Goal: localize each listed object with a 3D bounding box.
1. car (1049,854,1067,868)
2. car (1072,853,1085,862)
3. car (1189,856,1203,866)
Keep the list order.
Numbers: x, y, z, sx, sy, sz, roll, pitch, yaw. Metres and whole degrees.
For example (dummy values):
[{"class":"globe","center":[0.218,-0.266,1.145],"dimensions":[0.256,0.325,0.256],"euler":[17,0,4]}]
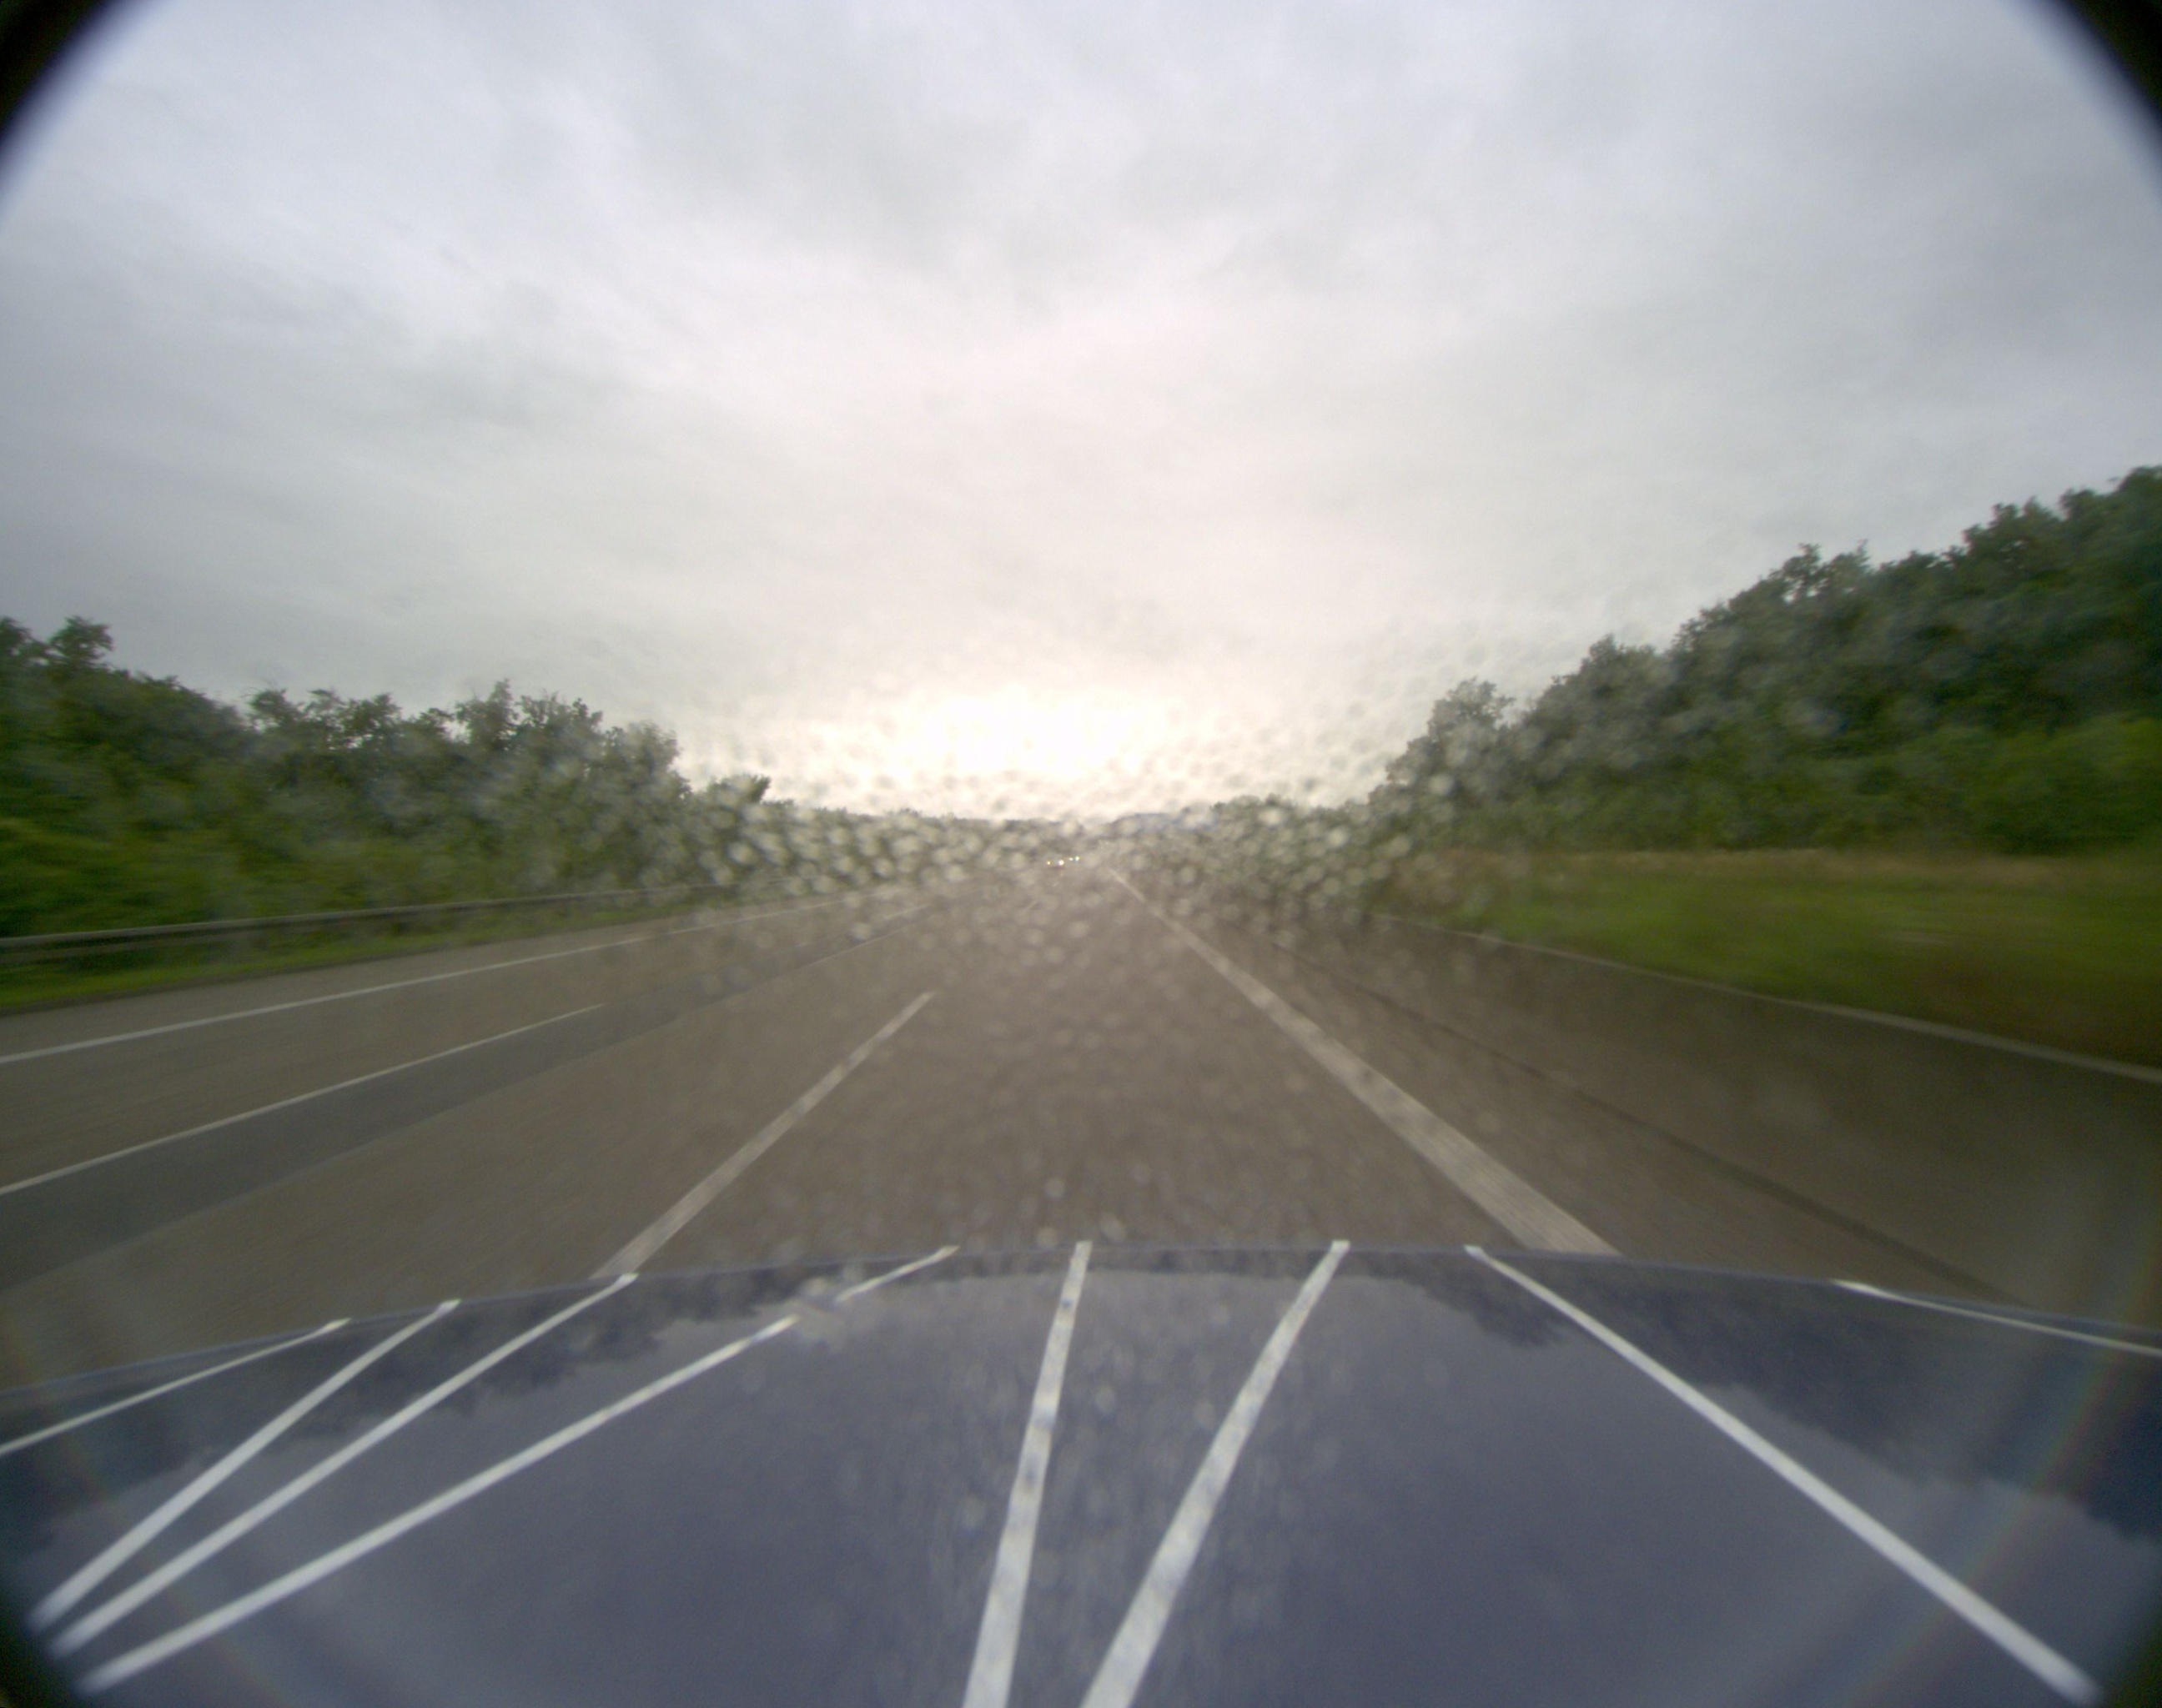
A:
[{"class":"car","center":[-2.575,0.780,85.633],"dimensions":[1.933,1.521,4.297],"euler":[0,0,-1]},{"class":"car","center":[-0.447,0.638,140.516],"dimensions":[2.008,1.456,4.001],"euler":[1,1,5]},{"class":"car","center":[17.661,1.085,117.194],"dimensions":[1.664,1.477,3.476],"euler":[0,1,1]}]
